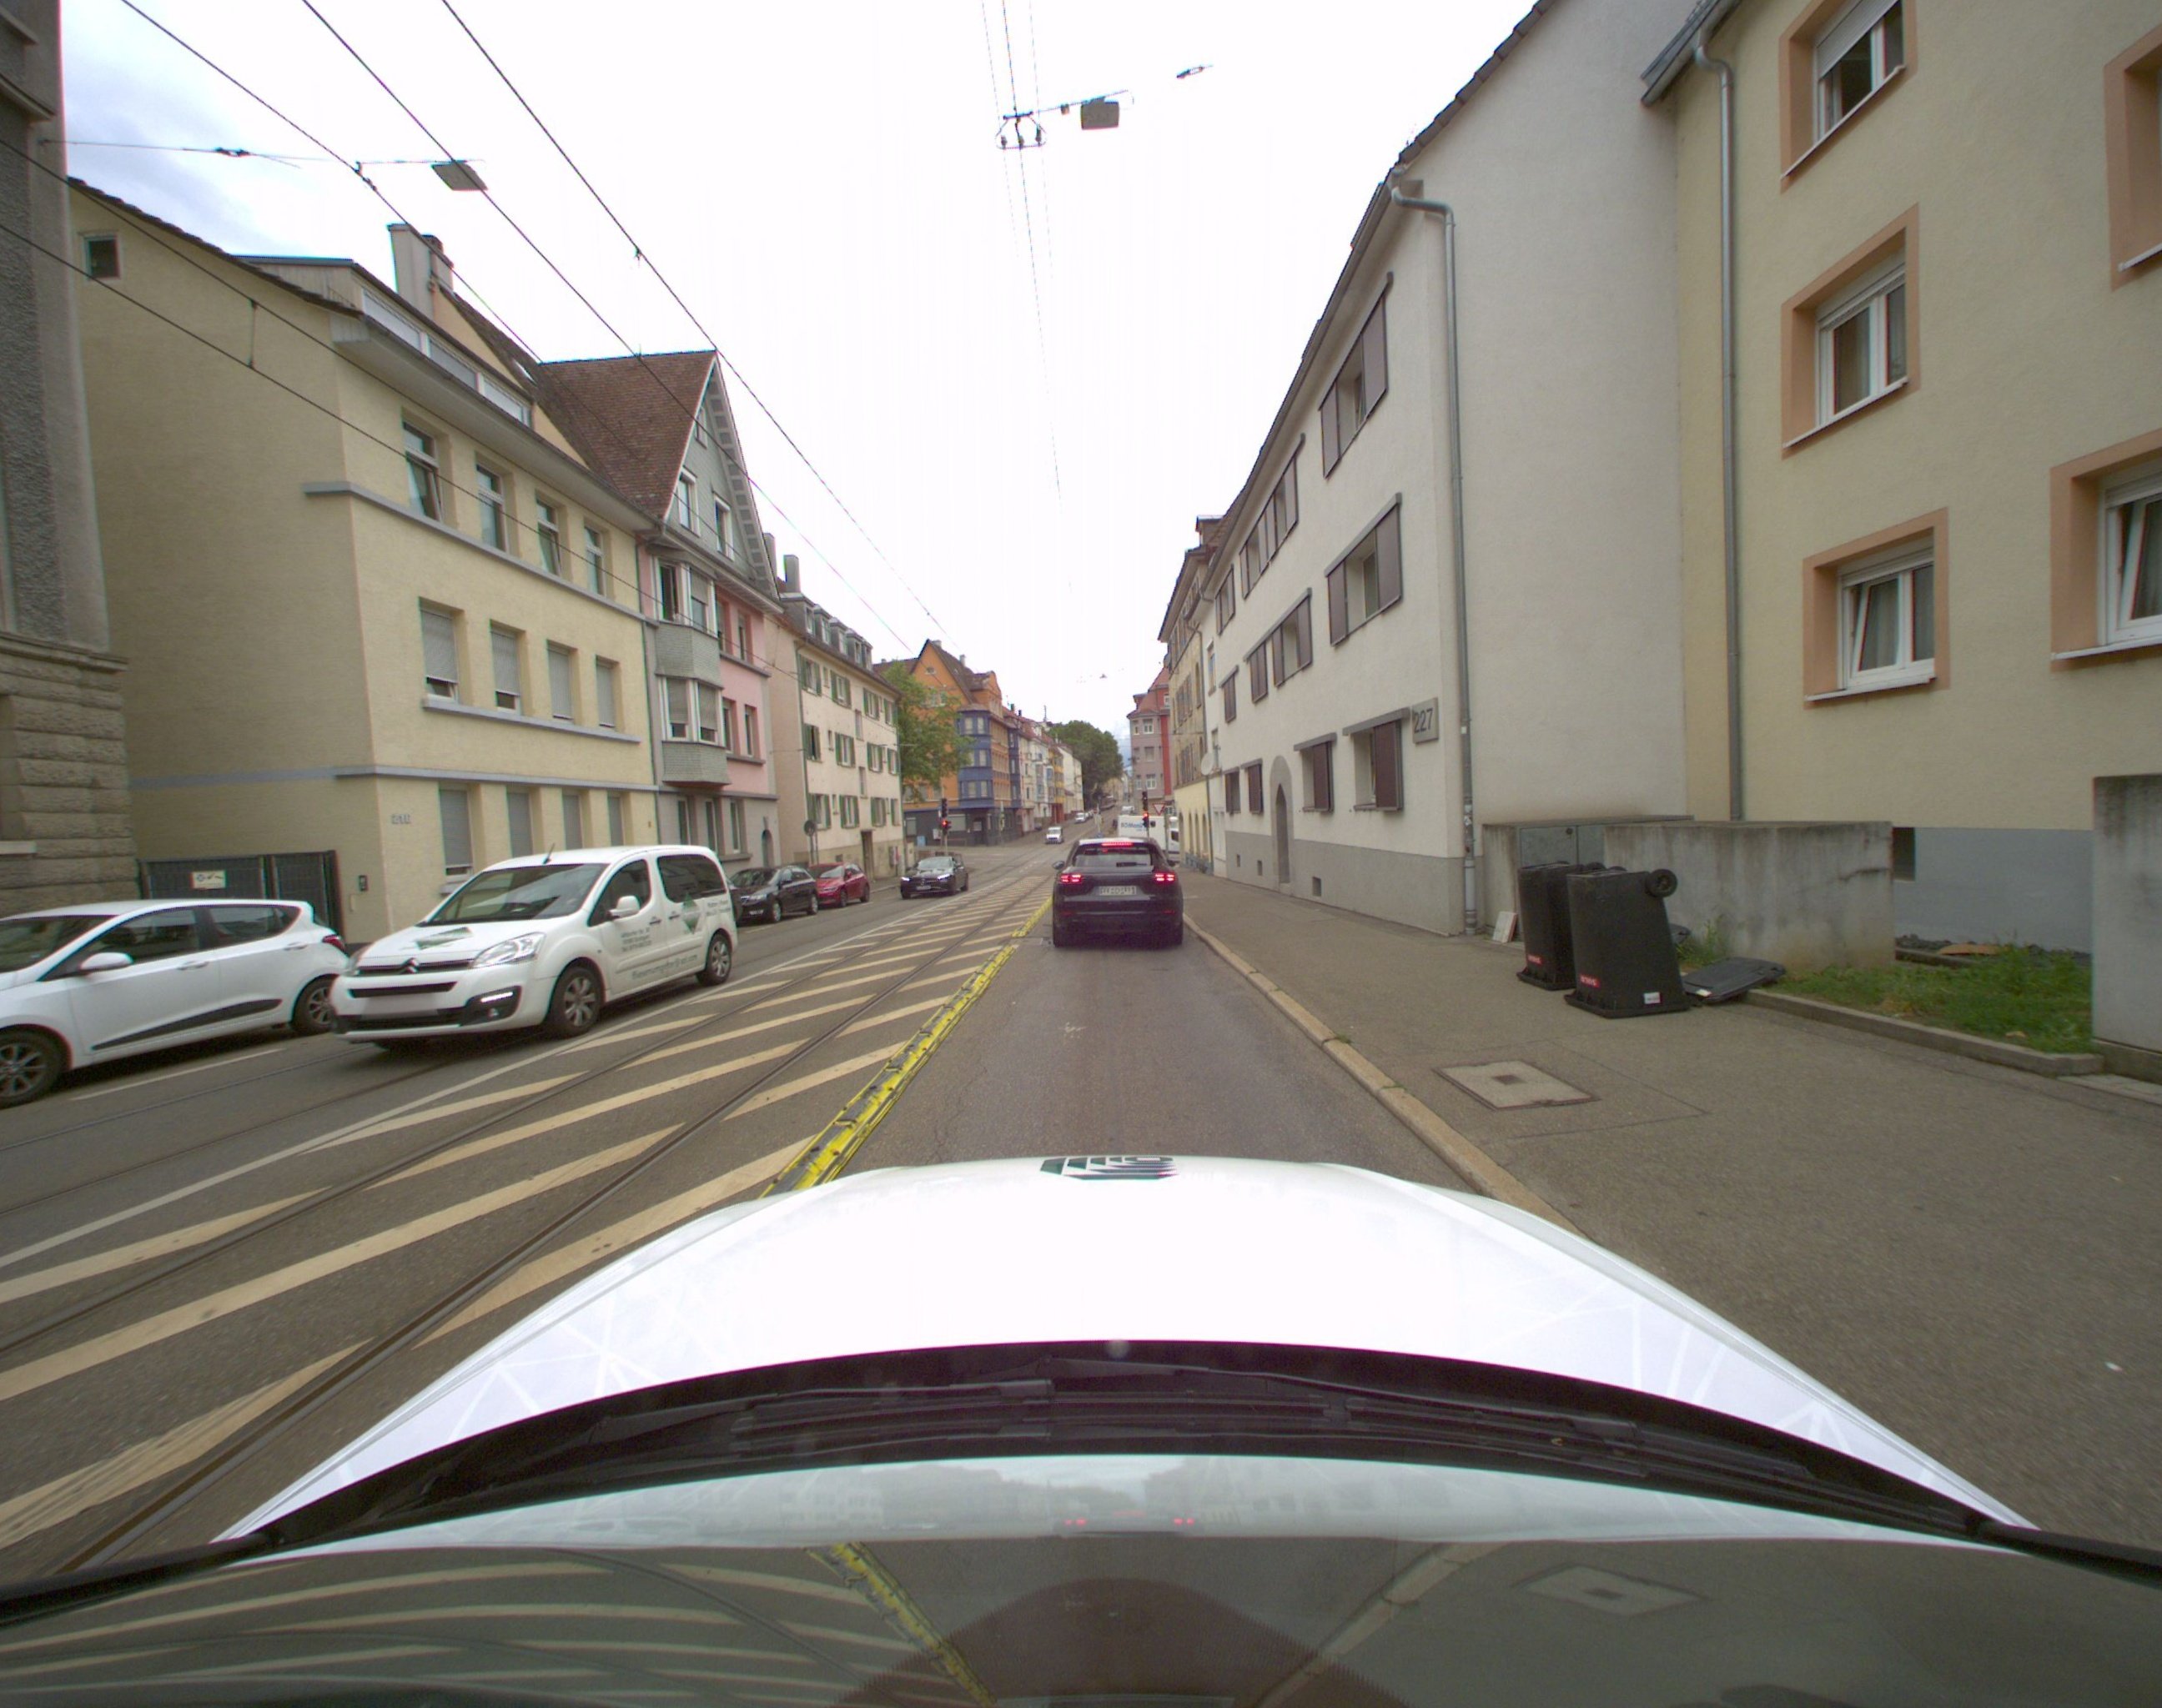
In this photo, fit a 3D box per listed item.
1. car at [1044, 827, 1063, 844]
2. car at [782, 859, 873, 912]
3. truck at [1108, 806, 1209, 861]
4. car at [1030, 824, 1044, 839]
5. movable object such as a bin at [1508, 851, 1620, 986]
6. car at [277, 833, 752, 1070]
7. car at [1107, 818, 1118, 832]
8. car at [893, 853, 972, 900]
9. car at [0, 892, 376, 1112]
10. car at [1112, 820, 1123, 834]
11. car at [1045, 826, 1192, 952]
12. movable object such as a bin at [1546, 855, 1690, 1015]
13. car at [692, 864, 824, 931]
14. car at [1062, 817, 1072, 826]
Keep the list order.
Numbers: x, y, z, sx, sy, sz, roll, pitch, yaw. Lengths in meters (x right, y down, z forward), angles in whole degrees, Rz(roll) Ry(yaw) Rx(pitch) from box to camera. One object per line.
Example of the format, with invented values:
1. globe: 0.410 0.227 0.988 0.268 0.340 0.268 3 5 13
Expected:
1. car: -3.042 -2.058 91.492 1.744 1.759 4.256 -3 1 2
2. car: -8.260 0.980 26.916 1.615 1.490 4.047 -4 0 0
3. truck: 5.337 -1.374 56.135 6.320 3.370 2.362 -3 1 28
4. car: -5.405 -2.767 100.617 1.389 1.722 3.361 -3 1 2
5. movable object such as a bin: 4.135 0.535 7.005 0.608 1.080 0.542 -3 0 3
6. car: -5.439 0.765 8.700 1.914 1.818 4.220 -3 1 2
7. car: 4.165 -3.775 106.897 1.389 1.722 3.361 -3 1 2
8. car: -5.305 0.748 29.760 1.914 1.424 4.499 -3 1 1
9. car: -8.714 1.207 7.178 1.615 1.463 3.686 -4 0 2
10. car: 5.047 -3.773 113.601 1.389 1.722 3.361 -3 1 2
11. car: 0.568 0.474 13.542 1.986 1.675 4.001 -3 1 1
12. movable object such as a bin: 3.949 0.570 6.037 0.586 1.080 0.692 -3 0 3
13. car: -8.355 1.076 21.487 1.730 1.410 4.002 -3 1 1
14. car: -2.348 -5.433 135.814 1.389 1.450 3.361 -3 1 2
